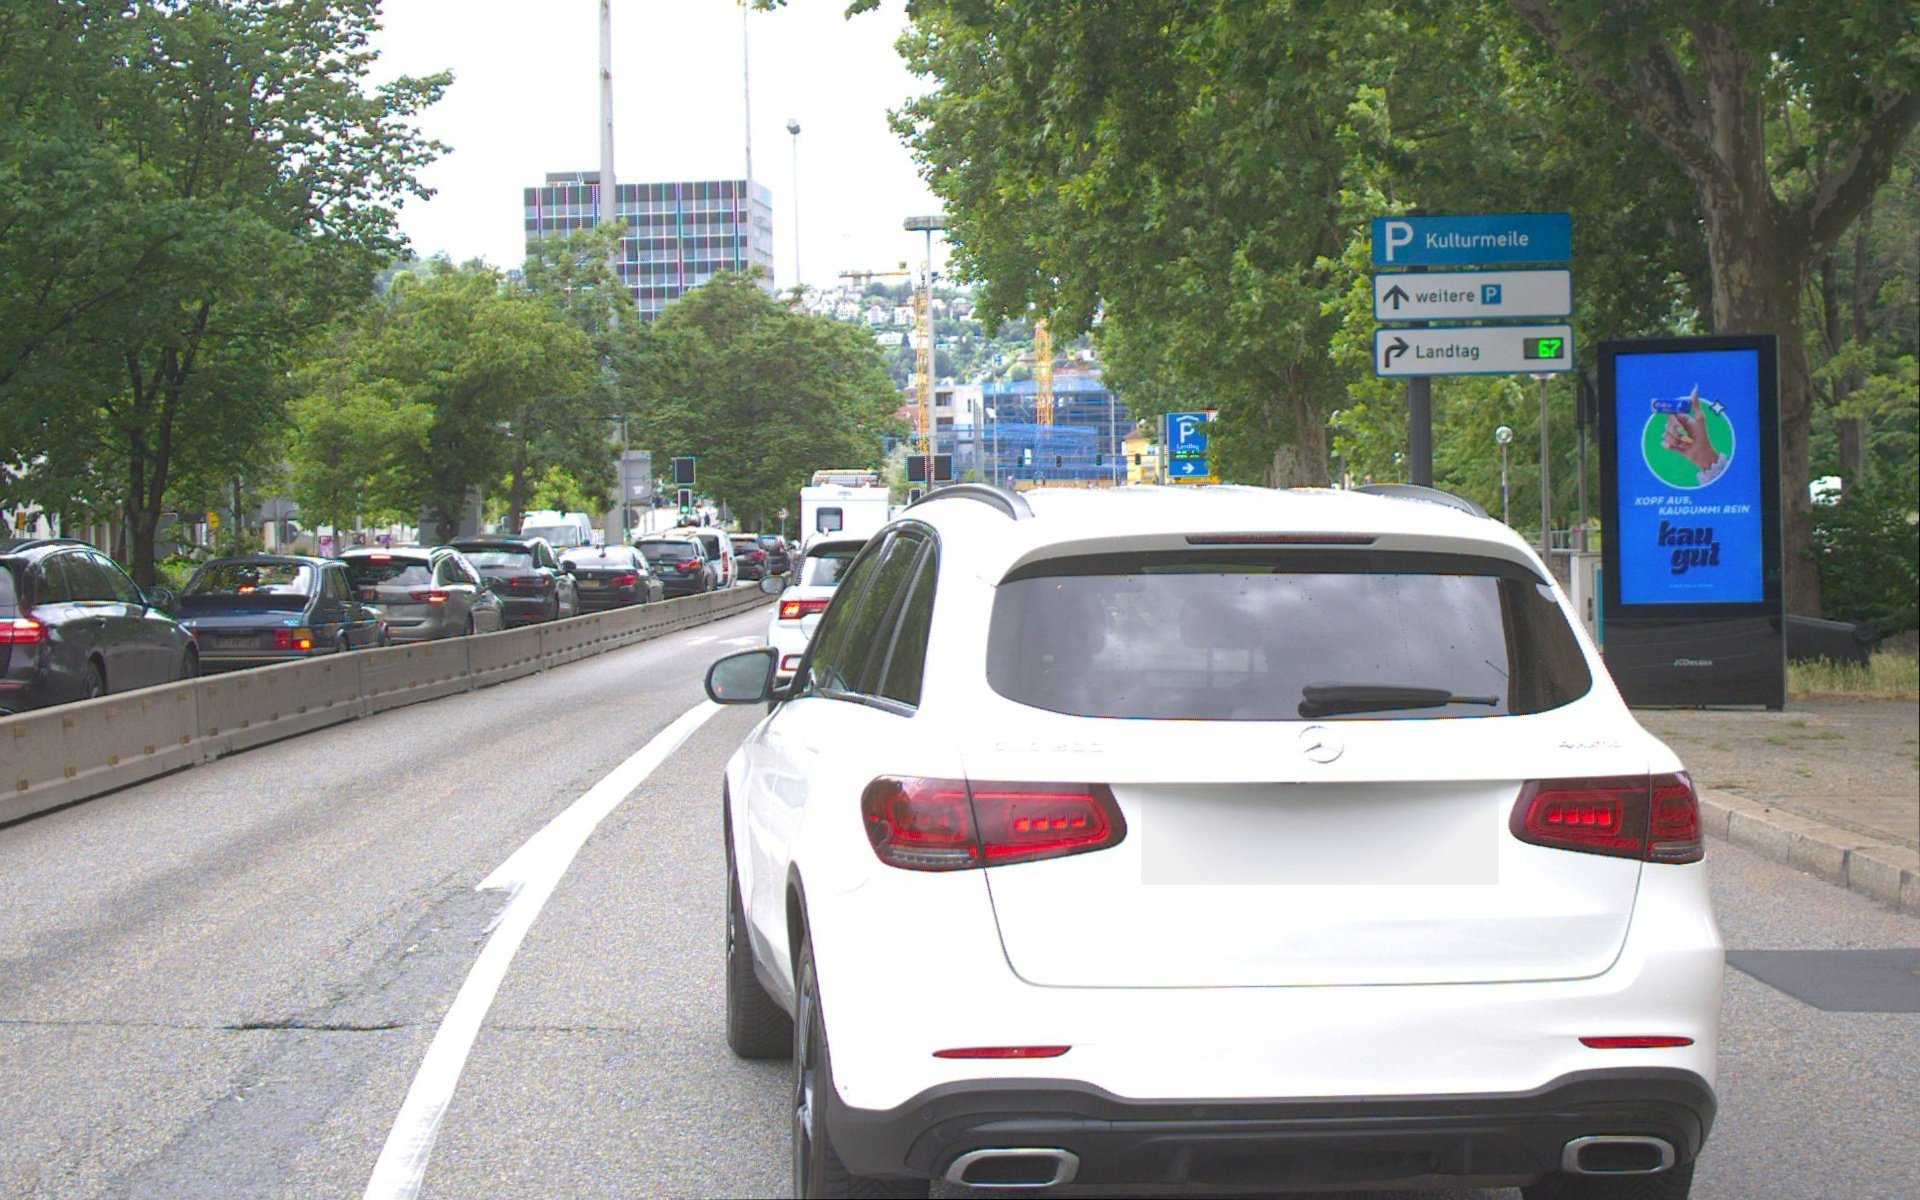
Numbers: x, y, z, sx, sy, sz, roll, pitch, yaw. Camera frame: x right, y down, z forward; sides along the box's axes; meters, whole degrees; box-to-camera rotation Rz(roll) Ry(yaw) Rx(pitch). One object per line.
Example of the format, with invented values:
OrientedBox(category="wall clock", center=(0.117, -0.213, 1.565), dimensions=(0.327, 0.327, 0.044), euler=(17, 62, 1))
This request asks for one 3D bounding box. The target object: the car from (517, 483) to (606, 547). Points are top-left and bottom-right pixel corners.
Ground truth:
OrientedBox(category="car", center=(-12.682, -2.697, 109.779), dimensions=(2.115, 1.962, 5.578), euler=(-1, 1, 1))

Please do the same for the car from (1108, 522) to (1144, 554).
OrientedBox(category="car", center=(8.705, -3.259, 180.608), dimensions=(1.758, 1.663, 4.168), euler=(-1, 1, 1))

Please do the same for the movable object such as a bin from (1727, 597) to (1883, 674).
OrientedBox(category="movable object such as a bin", center=(7.621, 0.317, 31.054), dimensions=(1.299, 0.650, 0.728), euler=(1, 0, 9))

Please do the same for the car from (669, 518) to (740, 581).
OrientedBox(category="car", center=(-6.276, -1.221, 84.767), dimensions=(1.659, 1.508, 3.548), euler=(-1, 0, -3))

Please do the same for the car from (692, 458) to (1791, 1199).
OrientedBox(category="car", center=(0.358, 0.521, 8.454), dimensions=(1.787, 1.619, 4.438), euler=(0, 1, -8))

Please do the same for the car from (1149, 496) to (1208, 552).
OrientedBox(category="car", center=(7.904, -2.735, 124.623), dimensions=(1.993, 2.007, 4.000), euler=(0, 1, 2))

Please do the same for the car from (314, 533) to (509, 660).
OrientedBox(category="car", center=(-6.434, -0.060, 40.673), dimensions=(1.661, 1.431, 3.960), euler=(0, 1, 0))

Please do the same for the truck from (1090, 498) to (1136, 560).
OrientedBox(category="truck", center=(10.307, -4.783, 231.584), dimensions=(2.877, 4.089, 6.638), euler=(1, 1, 1))

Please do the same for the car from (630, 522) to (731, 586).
OrientedBox(category="car", center=(-5.946, -0.988, 73.506), dimensions=(1.659, 1.315, 3.547), euler=(0, 1, 4))

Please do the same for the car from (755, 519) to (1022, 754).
OrientedBox(category="car", center=(-0.601, 0.221, 25.460), dimensions=(1.795, 1.603, 3.755), euler=(0, 1, -4))

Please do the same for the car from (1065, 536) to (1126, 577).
OrientedBox(category="car", center=(4.438, -1.446, 112.931), dimensions=(1.947, 1.315, 4.016), euler=(0, 1, 2))

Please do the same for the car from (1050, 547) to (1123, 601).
OrientedBox(category="car", center=(3.437, -0.727, 93.596), dimensions=(1.947, 1.423, 4.016), euler=(0, 1, 2))

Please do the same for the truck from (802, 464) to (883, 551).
OrientedBox(category="truck", center=(-4.186, -3.291, 123.932), dimensions=(2.692, 2.981, 5.638), euler=(1, 1, 0))

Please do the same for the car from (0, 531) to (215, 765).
OrientedBox(category="car", center=(-6.734, 0.270, 24.386), dimensions=(1.816, 1.494, 4.769), euler=(-1, 1, 0))

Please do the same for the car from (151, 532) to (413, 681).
OrientedBox(category="car", center=(-6.678, 0.015, 34.288), dimensions=(1.678, 1.362, 4.543), euler=(-1, 1, 0))

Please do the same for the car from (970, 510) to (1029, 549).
OrientedBox(category="car", center=(1.376, -2.403, 117.482), dimensions=(1.947, 1.315, 4.016), euler=(0, 1, 2))

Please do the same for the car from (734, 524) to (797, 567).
OrientedBox(category="car", center=(-5.964, -1.675, 105.741), dimensions=(1.659, 1.315, 3.547), euler=(0, 1, 2))

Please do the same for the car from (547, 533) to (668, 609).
OrientedBox(category="car", center=(-6.228, -0.532, 61.030), dimensions=(1.659, 1.315, 3.547), euler=(0, 1, 2))

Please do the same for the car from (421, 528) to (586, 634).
OrientedBox(category="car", center=(-6.497, -0.298, 49.249), dimensions=(1.776, 1.415, 4.000), euler=(-1, 1, 1))

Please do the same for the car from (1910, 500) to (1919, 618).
OrientedBox(category="car", center=(13.522, -0.462, 43.894), dimensions=(1.760, 1.546, 4.027), euler=(-1, 3, 2))

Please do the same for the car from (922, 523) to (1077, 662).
OrientedBox(category="car", center=(0.442, -0.120, 42.202), dimensions=(1.659, 1.633, 3.548), euler=(0, 1, -3))

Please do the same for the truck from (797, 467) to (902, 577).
OrientedBox(category="truck", center=(-2.939, -2.106, 93.303), dimensions=(2.621, 2.851, 7.079), euler=(1, 1, 0))
